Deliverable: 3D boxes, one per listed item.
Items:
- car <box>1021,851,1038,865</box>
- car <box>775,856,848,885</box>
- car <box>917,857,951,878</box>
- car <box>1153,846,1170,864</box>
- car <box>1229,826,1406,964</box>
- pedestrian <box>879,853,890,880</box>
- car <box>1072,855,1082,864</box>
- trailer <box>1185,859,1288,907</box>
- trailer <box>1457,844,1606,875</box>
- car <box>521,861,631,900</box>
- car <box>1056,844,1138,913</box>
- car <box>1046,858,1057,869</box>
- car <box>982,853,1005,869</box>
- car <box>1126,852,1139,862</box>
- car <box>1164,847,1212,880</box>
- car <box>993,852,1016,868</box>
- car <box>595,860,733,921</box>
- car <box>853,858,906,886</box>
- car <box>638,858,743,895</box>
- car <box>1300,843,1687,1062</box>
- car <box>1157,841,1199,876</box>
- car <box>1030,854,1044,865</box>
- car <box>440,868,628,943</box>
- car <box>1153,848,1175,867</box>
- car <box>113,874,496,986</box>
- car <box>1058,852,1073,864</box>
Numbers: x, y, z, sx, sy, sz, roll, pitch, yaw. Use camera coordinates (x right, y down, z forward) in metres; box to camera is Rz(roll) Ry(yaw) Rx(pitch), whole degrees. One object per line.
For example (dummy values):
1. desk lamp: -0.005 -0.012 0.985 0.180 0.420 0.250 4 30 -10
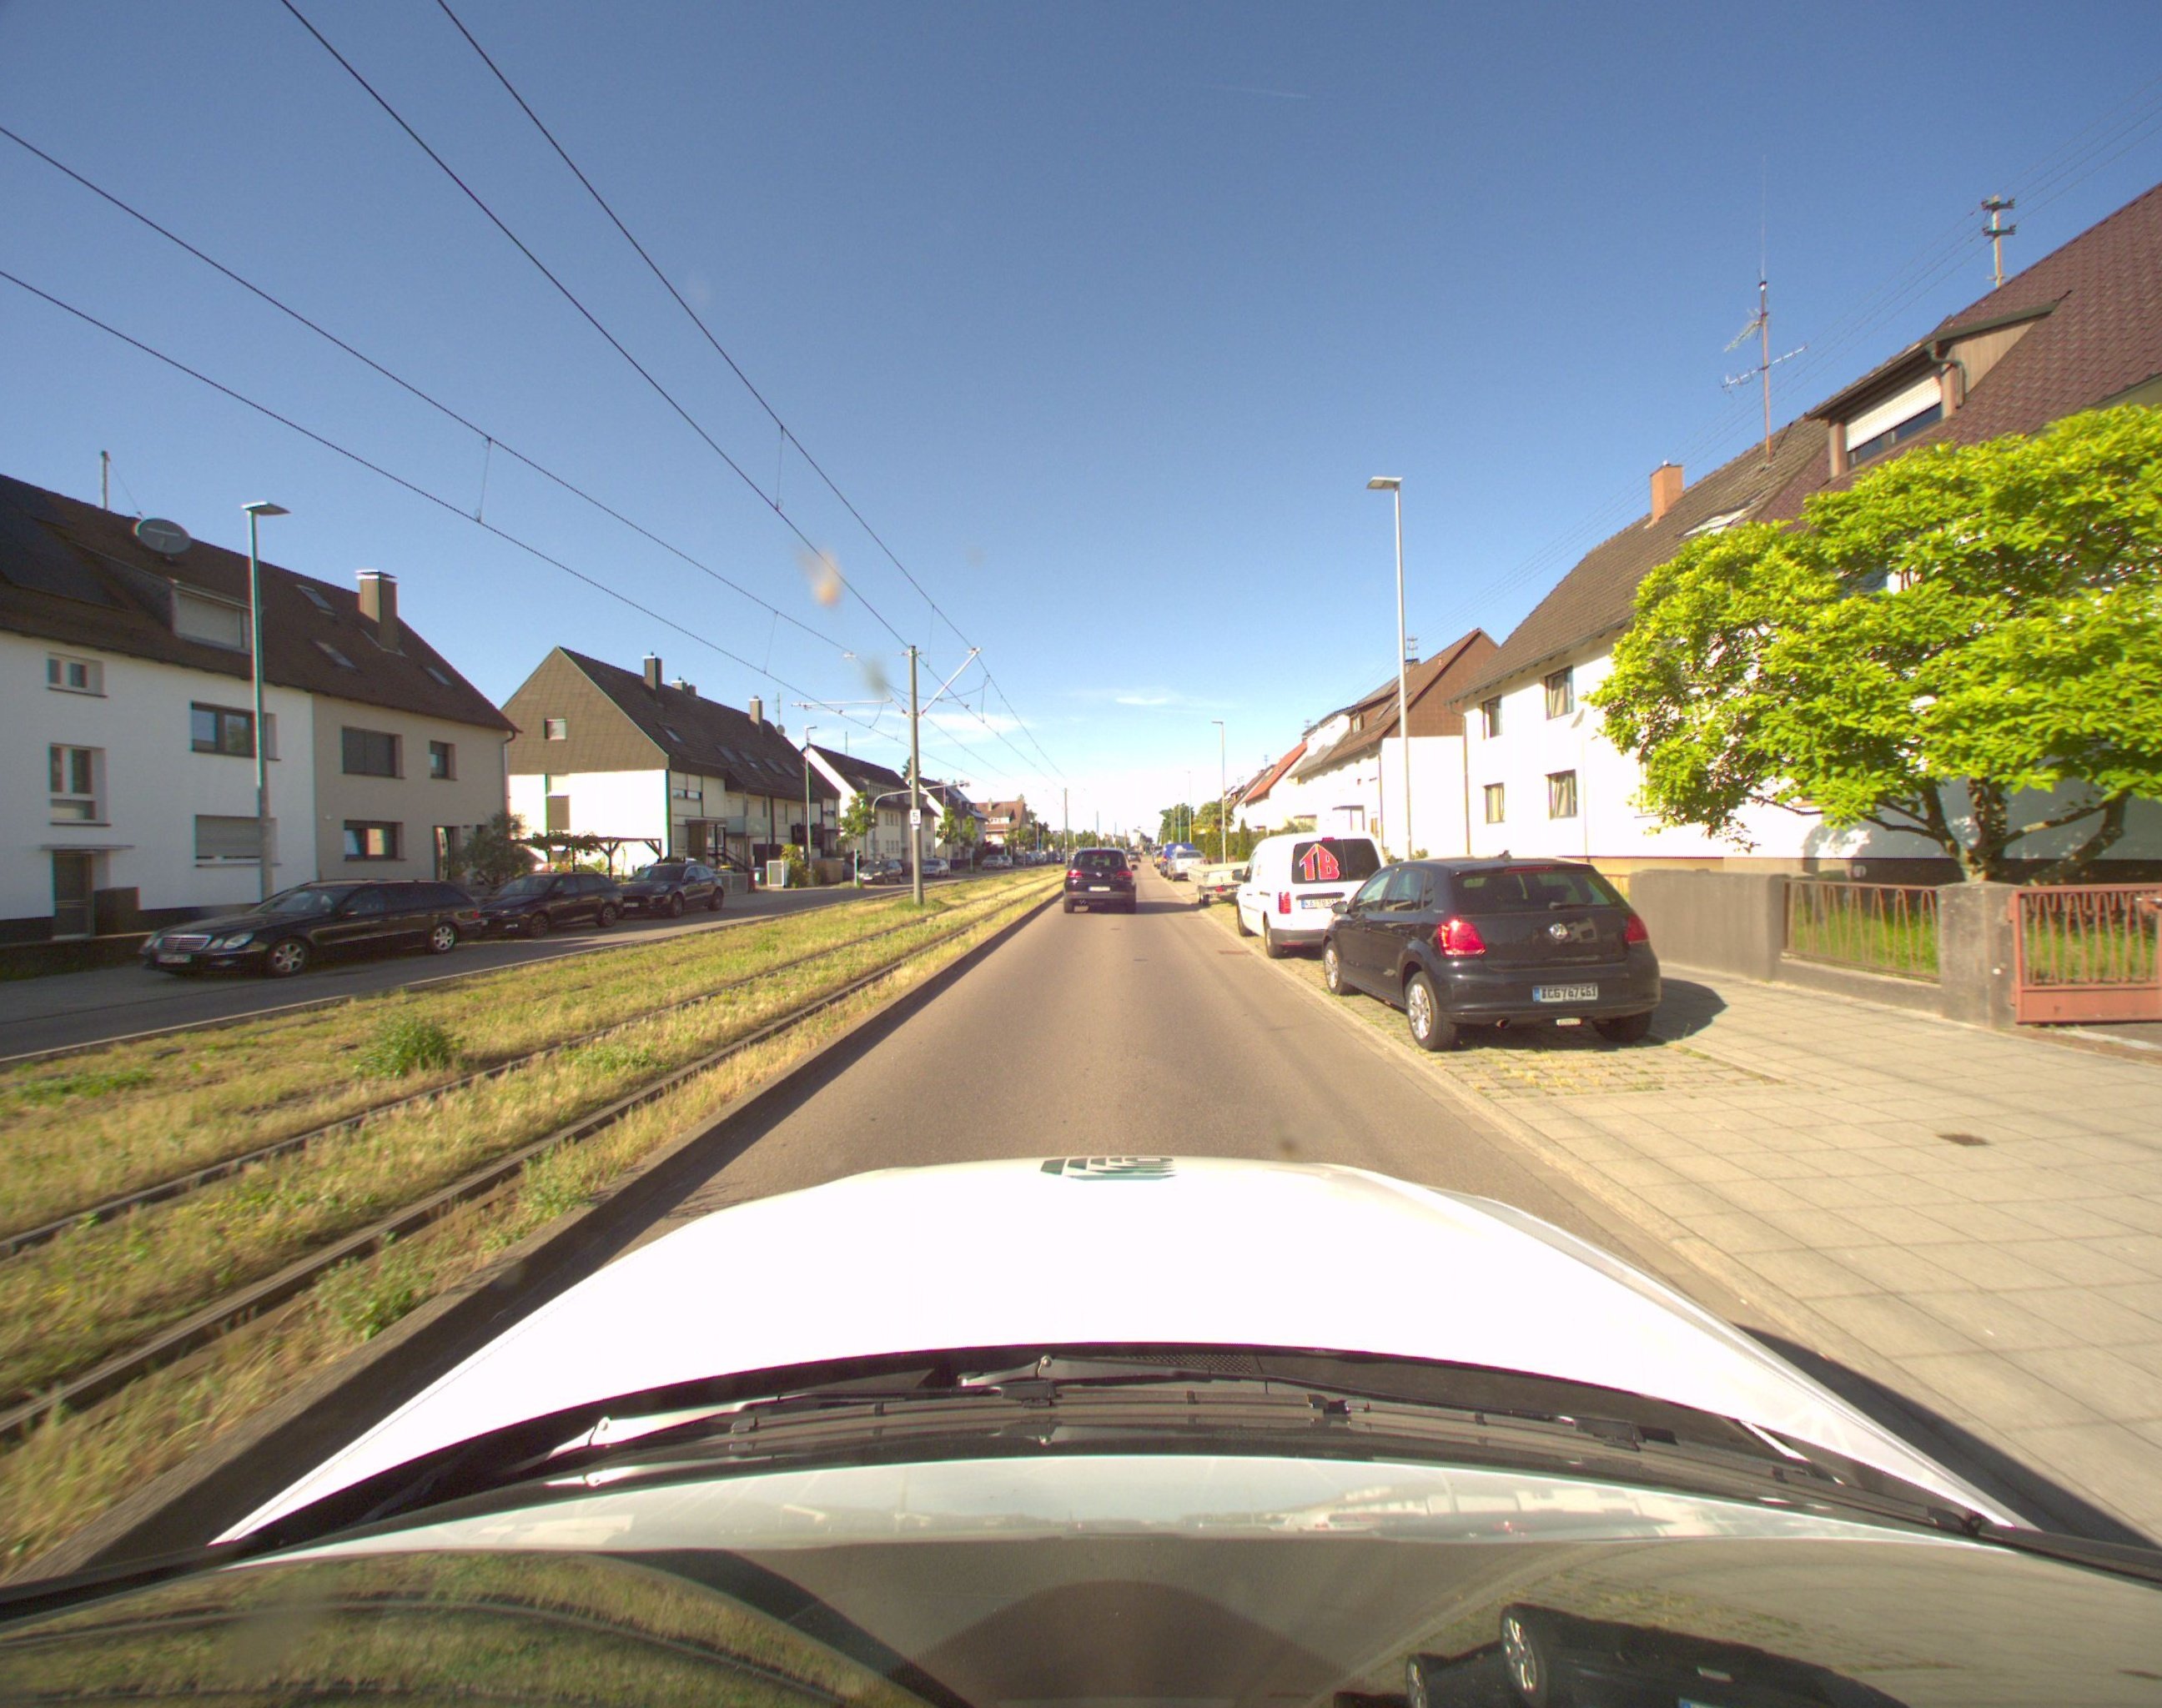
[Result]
1. car: -6.654 0.539 104.649 1.653 1.581 4.003 -2 -2 3
2. car: -16.537 0.984 50.091 3.895 1.568 1.732 -2 0 -5
3. car: -10.698 1.001 59.444 1.612 1.409 3.720 -2 -2 3
4. car: 7.521 0.065 76.177 1.445 1.551 3.834 -2 0 4
5. car: 3.568 0.535 13.153 1.683 1.776 4.659 -2 0 3
6. pedestrian: -12.805 0.794 53.067 0.466 1.746 0.536 -2 0 2
7. car: -0.646 0.957 135.206 1.459 1.454 3.290 -2 -1 3
8. trailer: 4.351 0.772 23.508 2.196 1.094 4.373 -3 0 2
9. trailer: 17.280 0.195 31.411 4.782 1.028 1.646 -2 0 5
10. car: -24.286 1.261 39.255 4.138 1.654 1.860 -2 0 5
11. car: 0.325 0.601 21.916 1.809 1.671 4.250 0 0 -5
12. car: -4.577 1.507 127.594 1.459 1.677 3.290 -2 -1 3
13. car: -8.865 0.688 82.550 1.652 1.496 3.582 -2 0 3
14. car: 6.965 0.385 110.208 1.566 1.391 3.617 -2 0 2
15. car: 5.235 0.441 40.299 1.780 1.441 4.460 -3 0 1
16. car: -8.318 0.591 88.697 1.796 1.631 4.003 -2 0 3
17. car: -12.751 1.039 25.290 1.797 1.597 4.811 -2 0 -1
18. car: -11.498 1.009 46.684 1.610 1.453 3.726 -2 0 7
19. car: -18.776 1.060 39.290 4.154 1.616 1.758 -2 0 -2
20. car: 3.396 0.689 7.683 1.664 1.453 4.128 -2 0 2
21. car: 5.494 0.240 46.658 1.985 1.862 4.921 -2 0 3
22. car: -6.018 0.755 110.693 1.509 1.361 3.592 -2 0 2
23. car: -13.042 1.156 19.772 1.514 1.475 4.204 -1 0 3
24. car: 6.989 0.291 68.766 1.638 1.534 3.867 -2 0 3
25. car: -13.312 1.188 14.543 1.868 1.523 4.887 -1 0 5
26. car: -2.348 0.624 121.918 1.866 1.655 4.002 -2 -2 3
